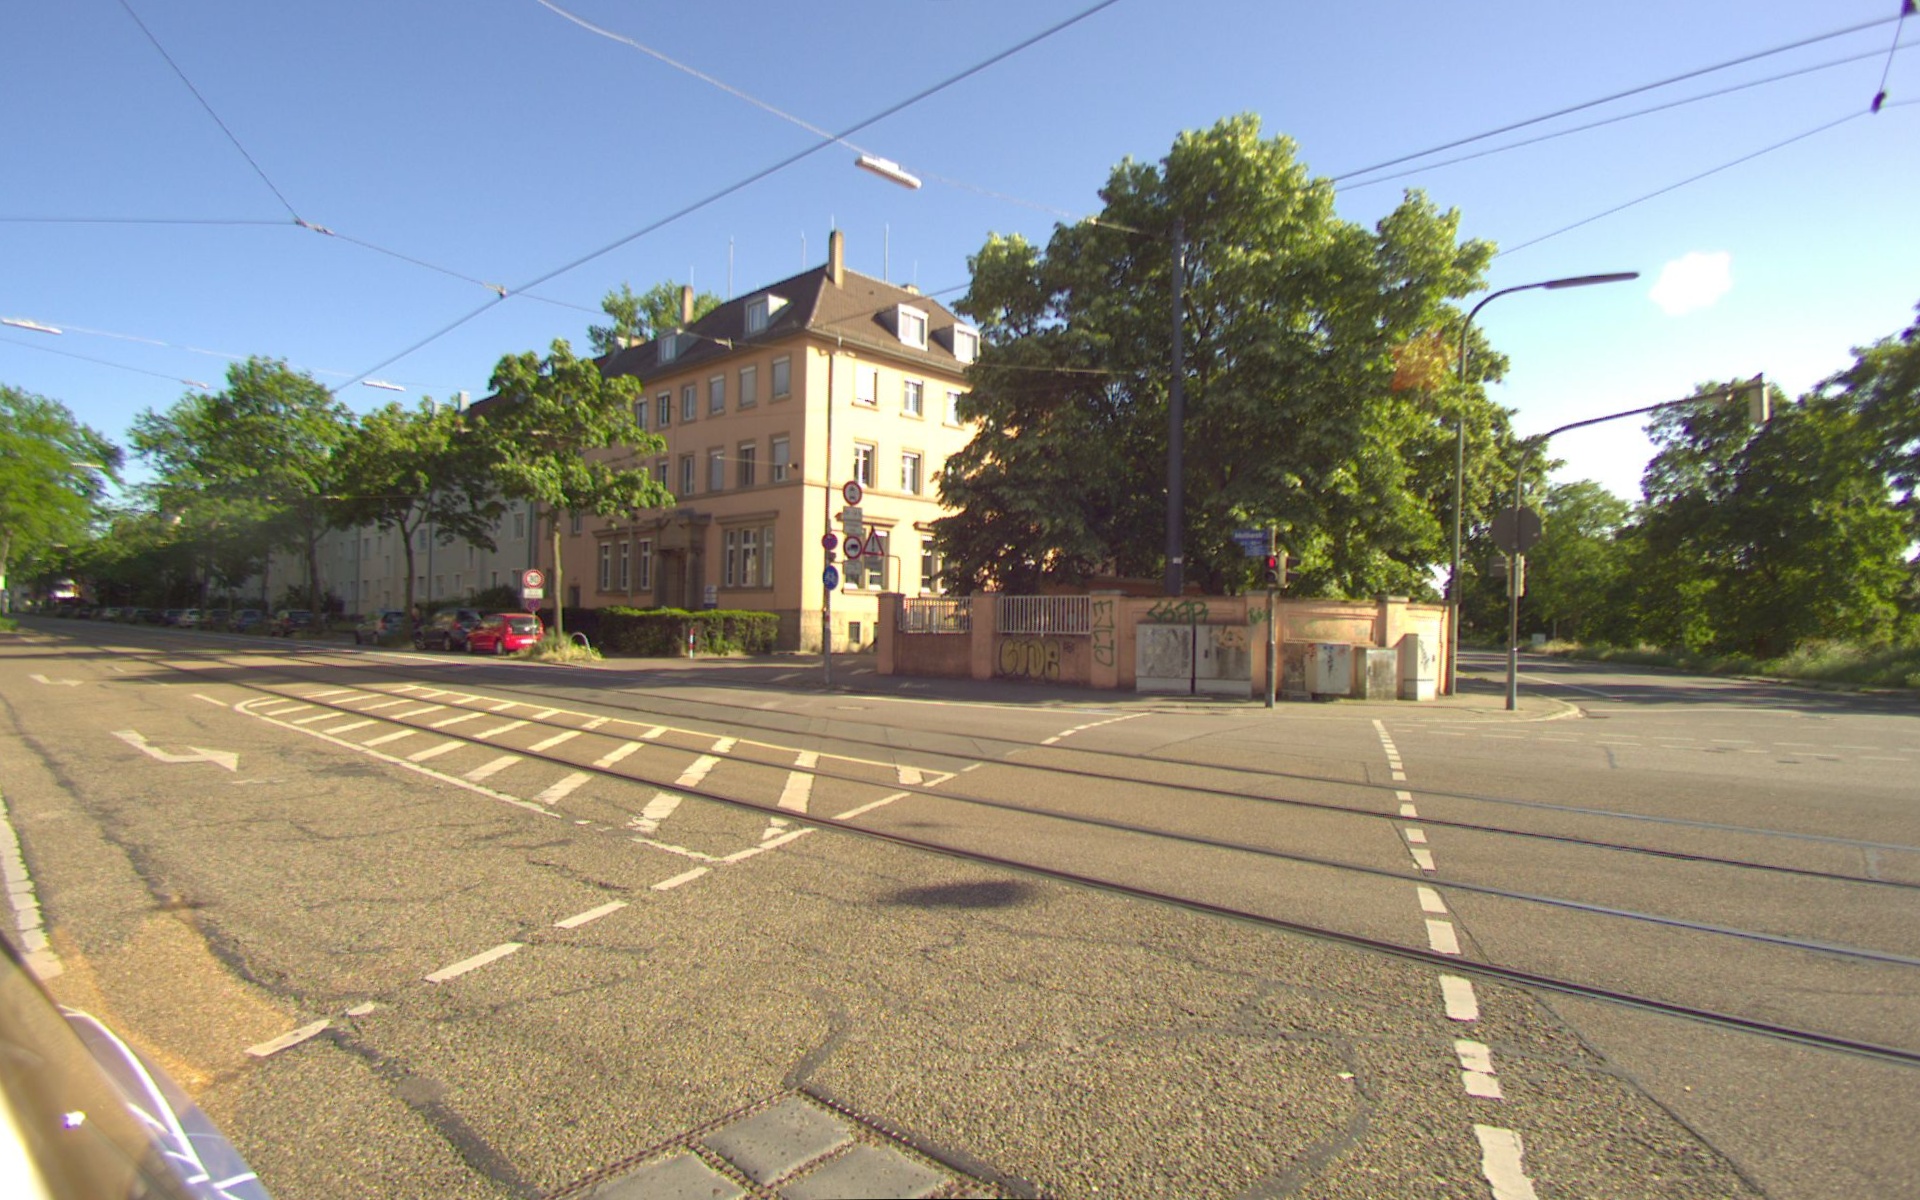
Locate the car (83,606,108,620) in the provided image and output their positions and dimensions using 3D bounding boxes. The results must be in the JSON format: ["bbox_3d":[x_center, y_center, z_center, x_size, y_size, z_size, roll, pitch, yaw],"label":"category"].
[{"bbox_3d":[-103.171,1.535,120.728,3.630,1.534,1.792,0,-2,42],"label":"car"}]

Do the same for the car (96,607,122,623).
[{"bbox_3d":[-94.748,1.651,112.666,3.630,1.792,1.792,0,-2,42],"label":"car"}]

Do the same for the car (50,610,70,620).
[{"bbox_3d":[-134.966,2.216,151.763,3.630,1.430,1.792,0,-2,42],"label":"car"}]

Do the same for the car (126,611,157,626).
[{"bbox_3d":[-77.901,1.754,96.310,3.630,1.430,1.792,0,-2,42],"label":"car"}]

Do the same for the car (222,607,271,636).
[{"bbox_3d":[-46.154,1.370,65.460,3.795,1.839,1.792,0,-2,42],"label":"car"}]

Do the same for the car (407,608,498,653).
[{"bbox_3d":[-19.837,1.161,39.507,3.818,1.671,1.793,0,-2,41],"label":"car"}]

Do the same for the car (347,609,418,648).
[{"bbox_3d":[-26.106,1.270,45.701,3.878,1.671,1.791,0,-2,45],"label":"car"}]

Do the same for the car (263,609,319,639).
[{"bbox_3d":[-37.735,1.356,57.051,3.630,1.611,1.792,0,-2,42],"label":"car"}]

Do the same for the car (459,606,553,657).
[{"bbox_3d":[-16.366,1.118,36.435,3.373,1.719,1.793,0,-2,41],"label":"car"}]

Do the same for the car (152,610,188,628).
[{"bbox_3d":[-65.896,1.581,84.416,3.630,1.430,1.792,0,-2,42],"label":"car"}]

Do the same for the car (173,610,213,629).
[{"bbox_3d":[-59.358,1.519,78.334,3.630,1.430,1.792,0,-2,42],"label":"car"}]

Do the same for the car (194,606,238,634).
[{"bbox_3d":[-52.723,1.402,71.729,3.630,1.955,1.792,0,-2,42],"label":"car"}]
